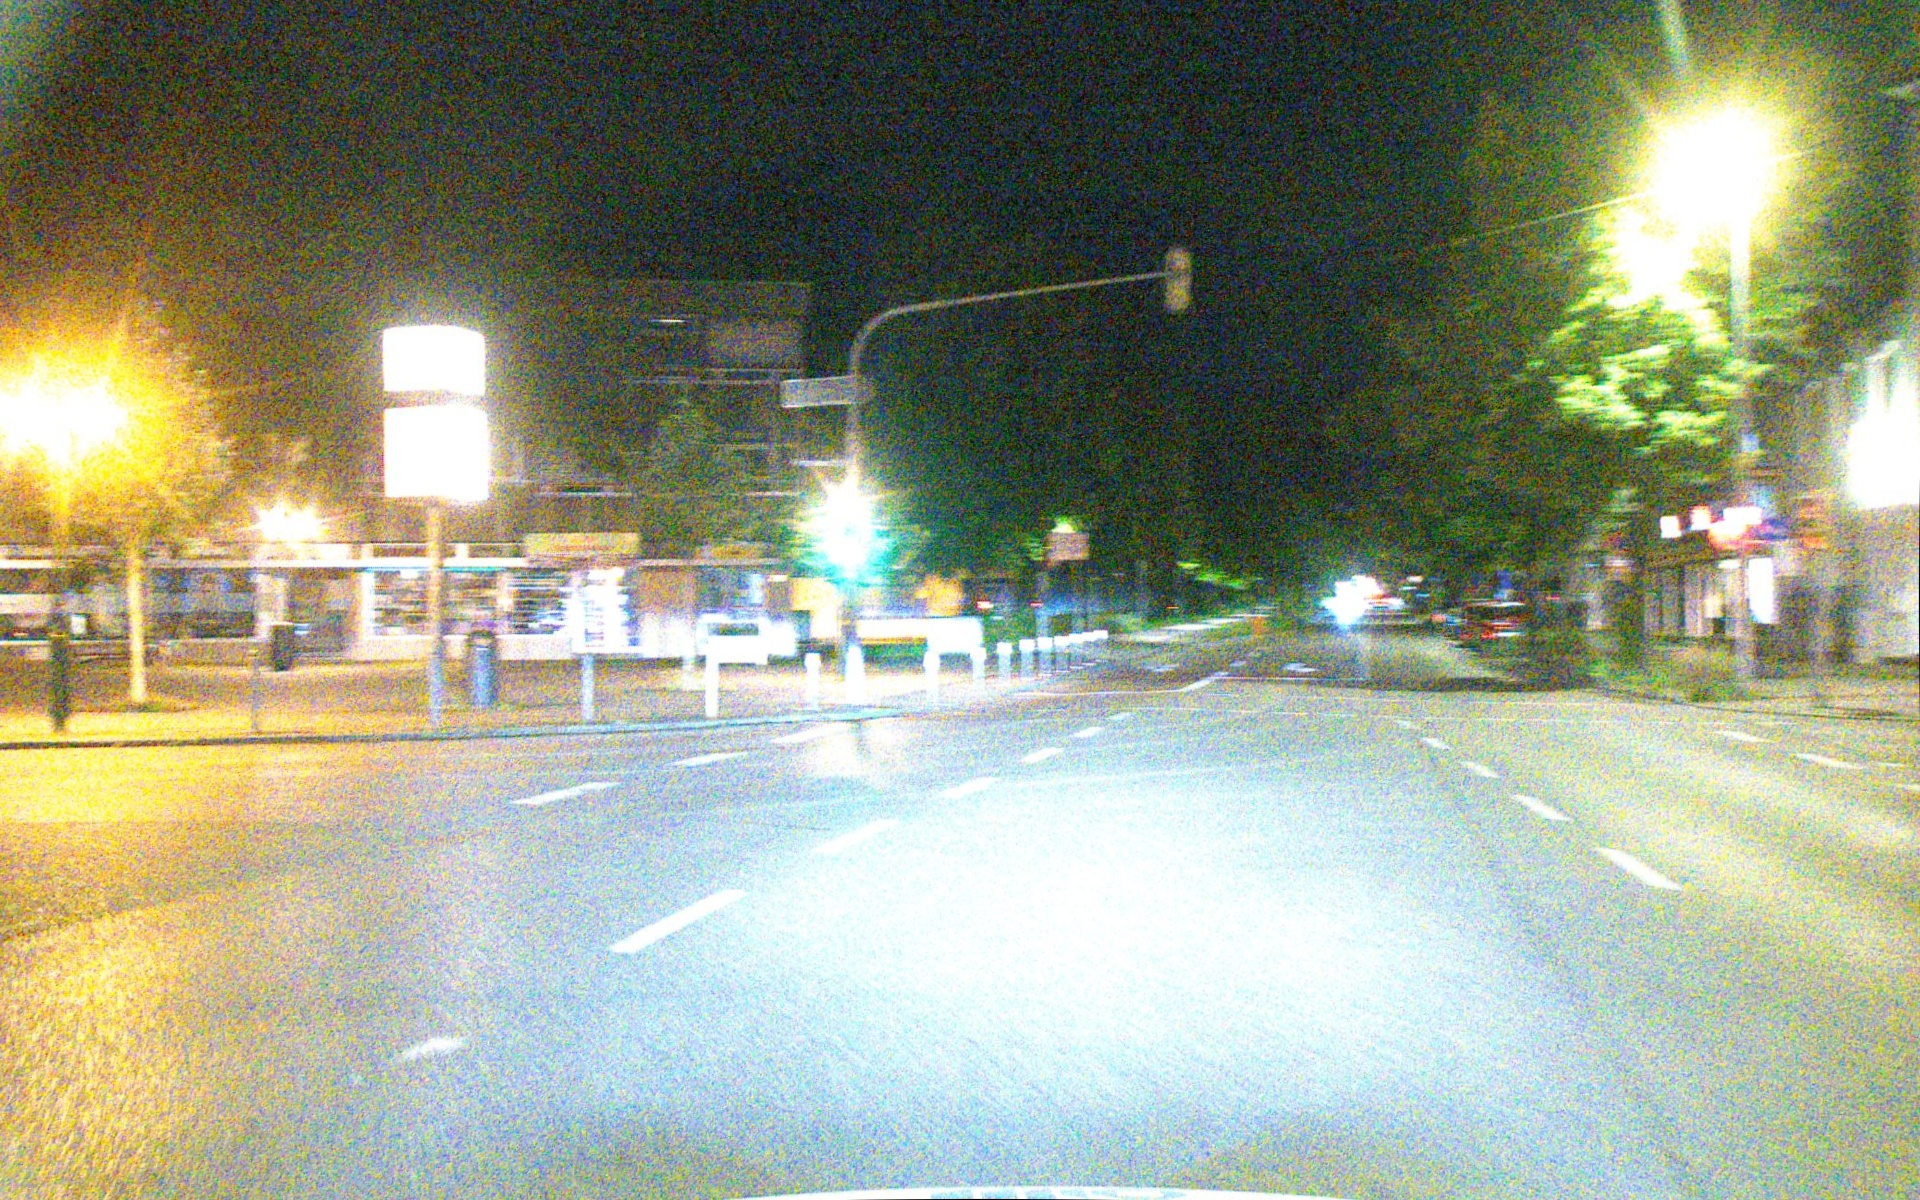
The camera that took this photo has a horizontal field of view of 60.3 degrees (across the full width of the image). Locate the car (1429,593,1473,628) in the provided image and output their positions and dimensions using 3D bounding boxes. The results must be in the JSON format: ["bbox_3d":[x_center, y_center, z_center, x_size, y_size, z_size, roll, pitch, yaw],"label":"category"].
[{"bbox_3d":[24.339,0.502,81.944,1.964,1.654,3.897,1,0,18],"label":"car"}]

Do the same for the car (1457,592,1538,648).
[{"bbox_3d":[16.974,0.608,52.370,1.829,1.682,3.866,1,0,9],"label":"car"}]

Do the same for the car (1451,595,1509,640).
[{"bbox_3d":[18.030,0.589,57.289,1.849,1.478,3.897,1,0,18],"label":"car"}]

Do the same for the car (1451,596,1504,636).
[{"bbox_3d":[20.221,0.618,64.714,1.849,1.478,3.898,1,0,16],"label":"car"}]
